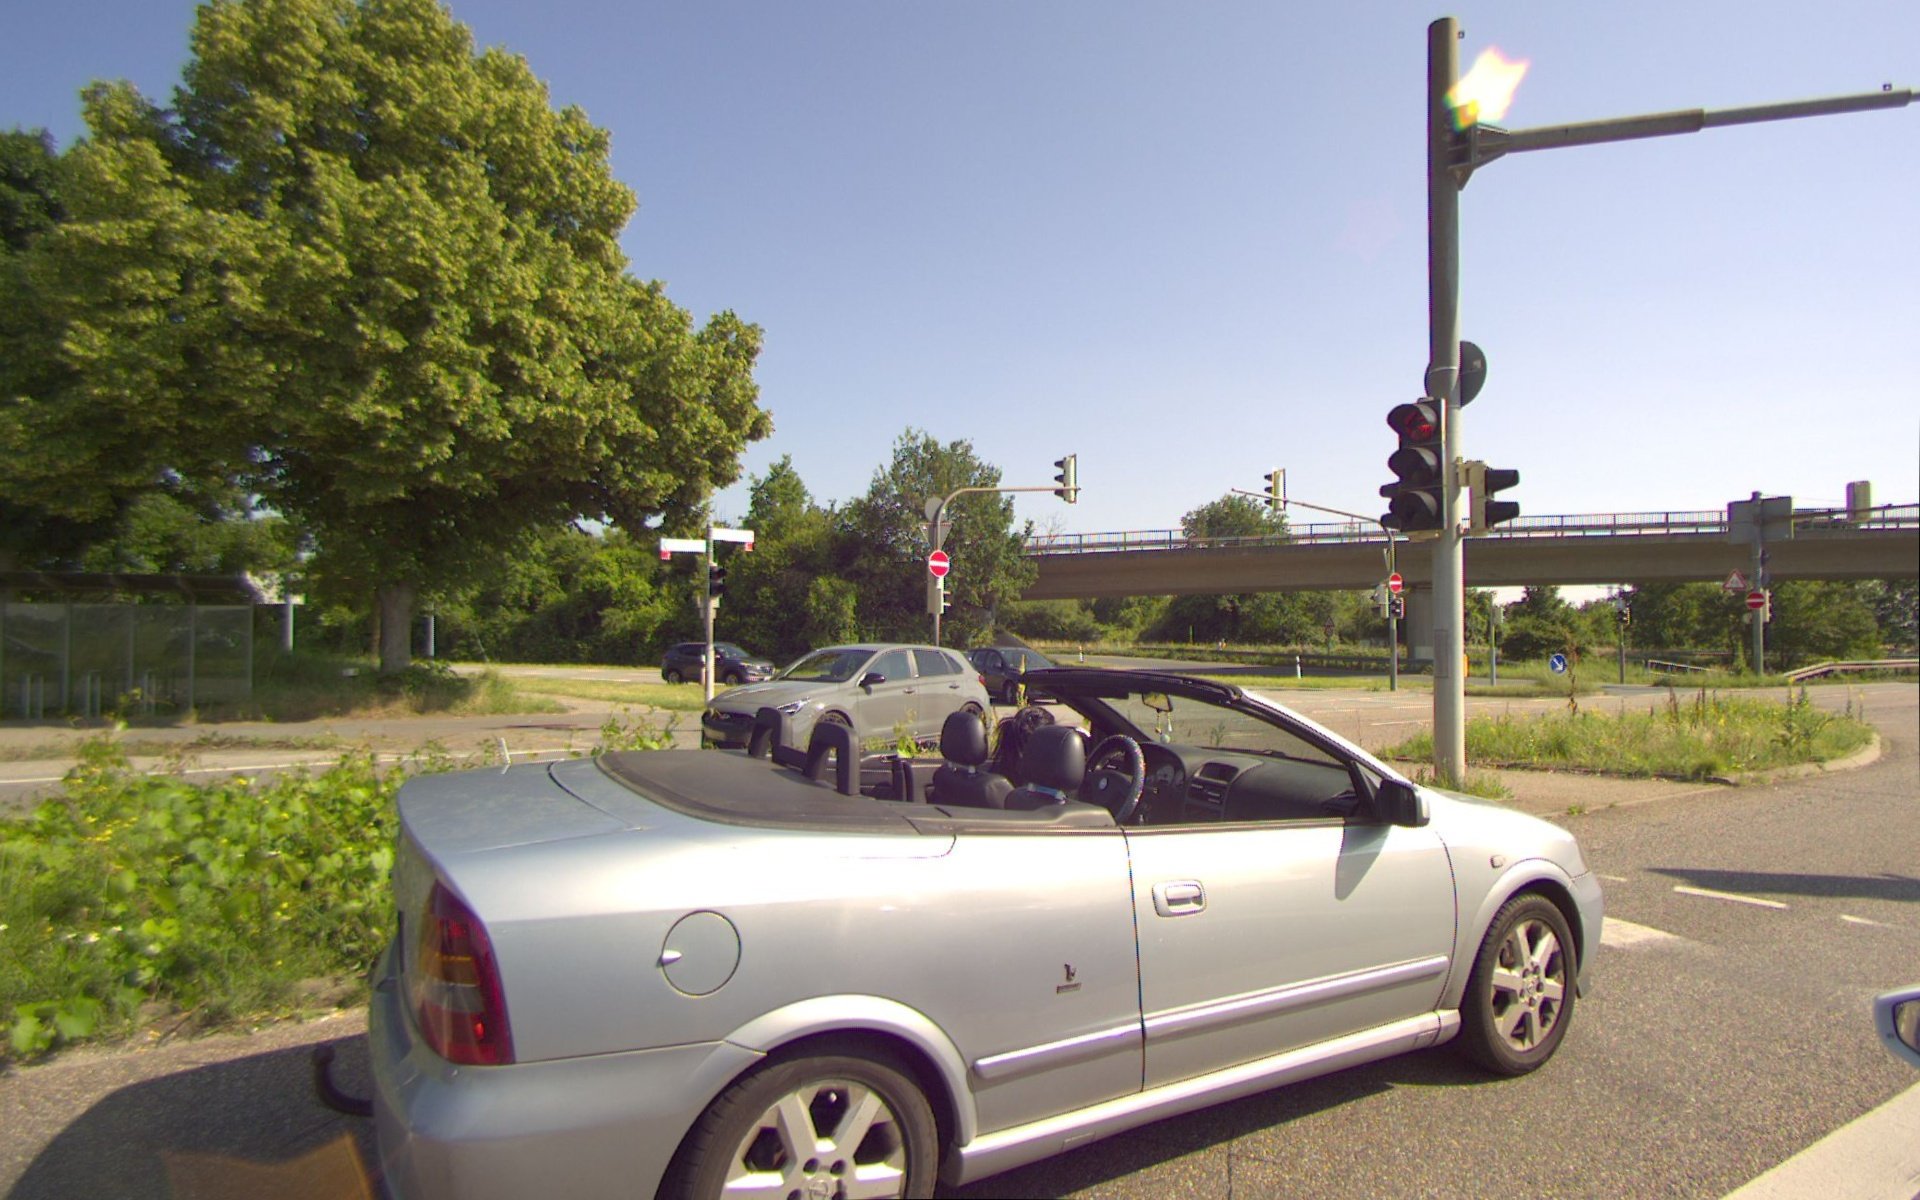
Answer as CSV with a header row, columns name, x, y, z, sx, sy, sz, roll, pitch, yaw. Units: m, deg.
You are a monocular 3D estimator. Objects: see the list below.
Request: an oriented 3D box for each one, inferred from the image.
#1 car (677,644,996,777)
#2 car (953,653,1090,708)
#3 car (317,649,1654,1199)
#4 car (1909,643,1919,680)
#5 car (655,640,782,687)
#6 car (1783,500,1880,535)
name,x,y,z,sx,sy,sz,roll,pitch,yaw
car,-1.440,1.300,13.168,1.841,1.443,4.112,-2,-3,37
car,1.562,2.120,27.231,1.632,1.297,4.320,1,-3,-30
car,0.335,0.849,3.329,4.049,1.352,1.666,1,-3,-30
car,38.615,2.388,38.887,4.192,1.403,1.632,2,-3,-31
car,-8.719,2.243,36.267,4.270,1.616,1.651,-1,-2,22
car,43.493,-4.090,50.207,3.322,1.497,1.543,0,-3,7
